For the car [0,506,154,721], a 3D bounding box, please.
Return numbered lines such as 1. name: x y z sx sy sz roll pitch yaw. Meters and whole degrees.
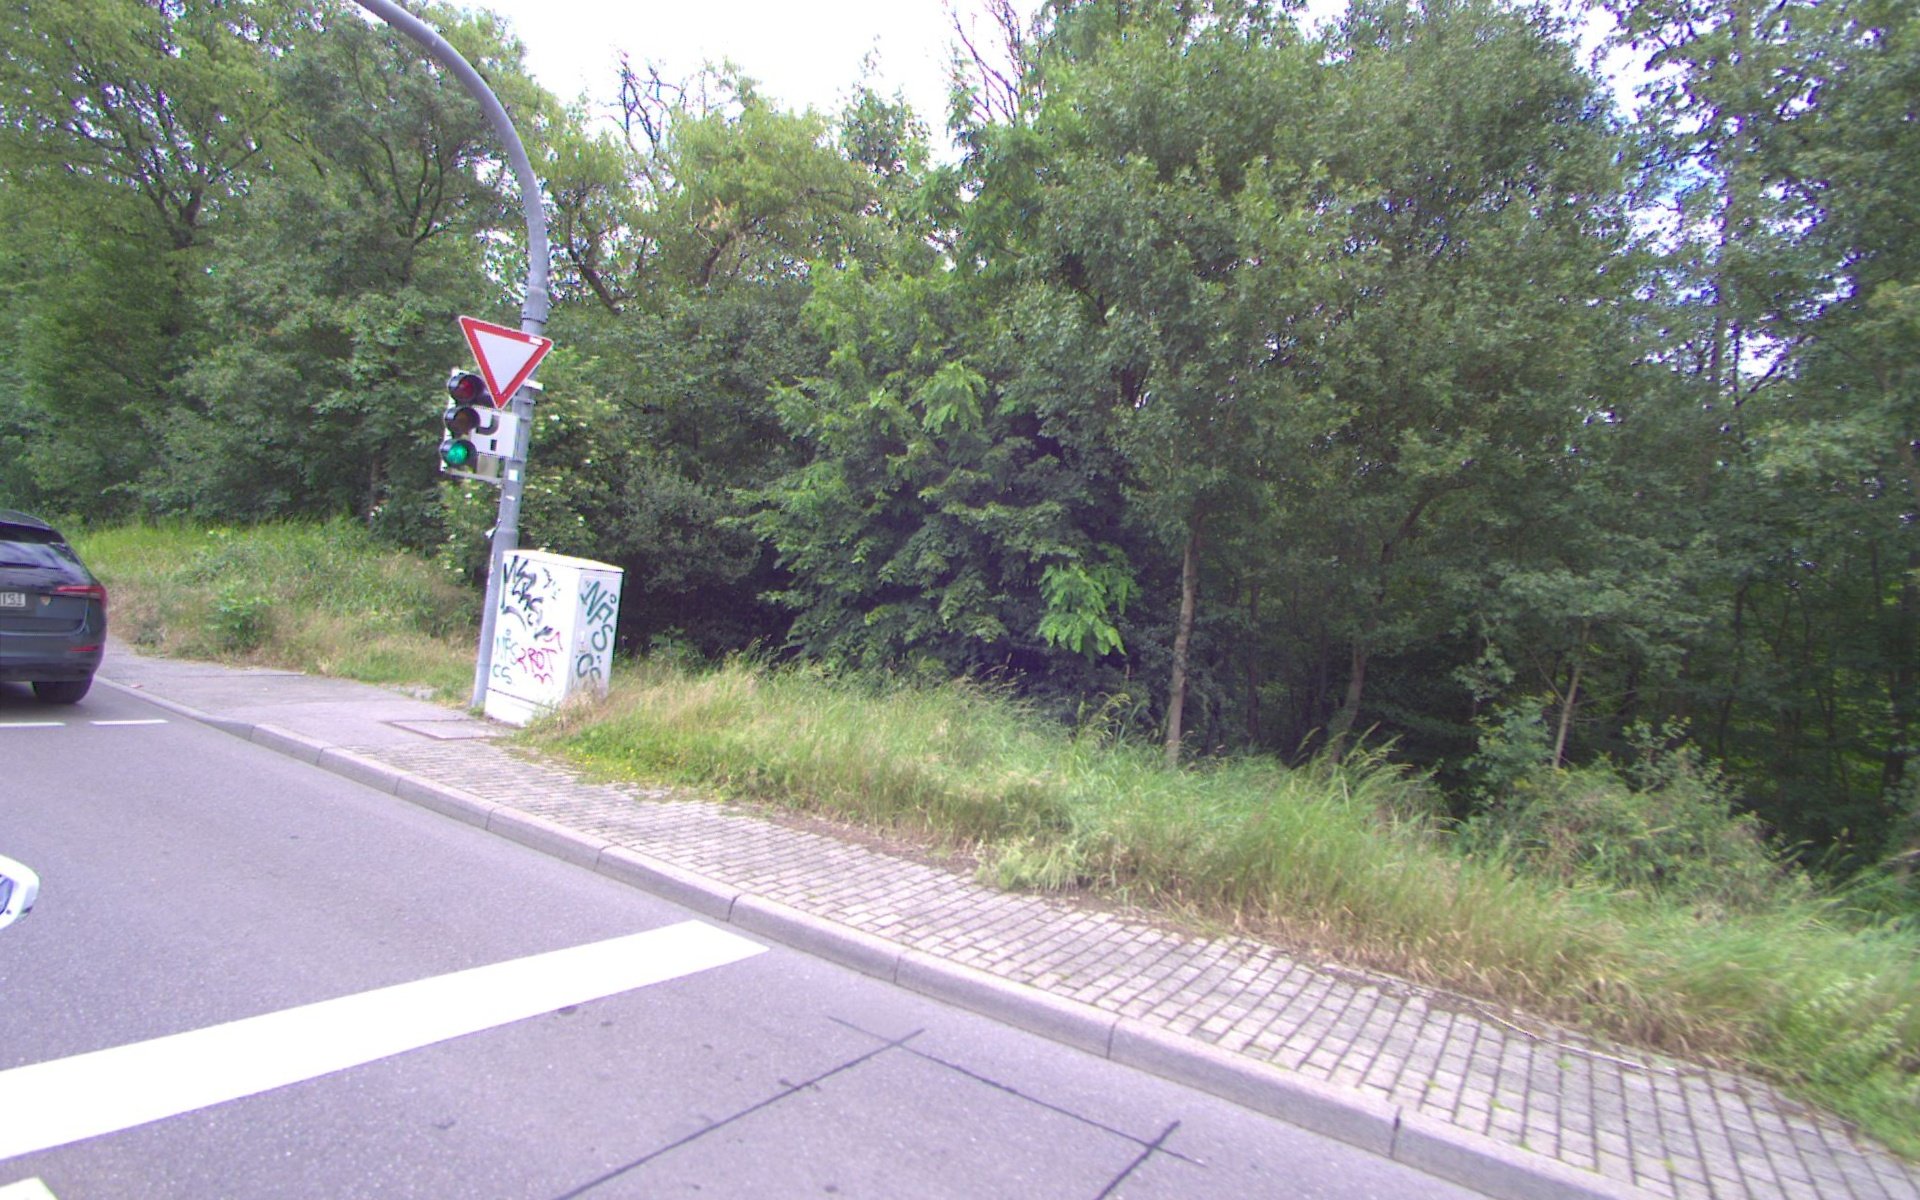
1. car: -8.285 -0.099 7.762 3.932 1.468 1.796 6 -1 29
